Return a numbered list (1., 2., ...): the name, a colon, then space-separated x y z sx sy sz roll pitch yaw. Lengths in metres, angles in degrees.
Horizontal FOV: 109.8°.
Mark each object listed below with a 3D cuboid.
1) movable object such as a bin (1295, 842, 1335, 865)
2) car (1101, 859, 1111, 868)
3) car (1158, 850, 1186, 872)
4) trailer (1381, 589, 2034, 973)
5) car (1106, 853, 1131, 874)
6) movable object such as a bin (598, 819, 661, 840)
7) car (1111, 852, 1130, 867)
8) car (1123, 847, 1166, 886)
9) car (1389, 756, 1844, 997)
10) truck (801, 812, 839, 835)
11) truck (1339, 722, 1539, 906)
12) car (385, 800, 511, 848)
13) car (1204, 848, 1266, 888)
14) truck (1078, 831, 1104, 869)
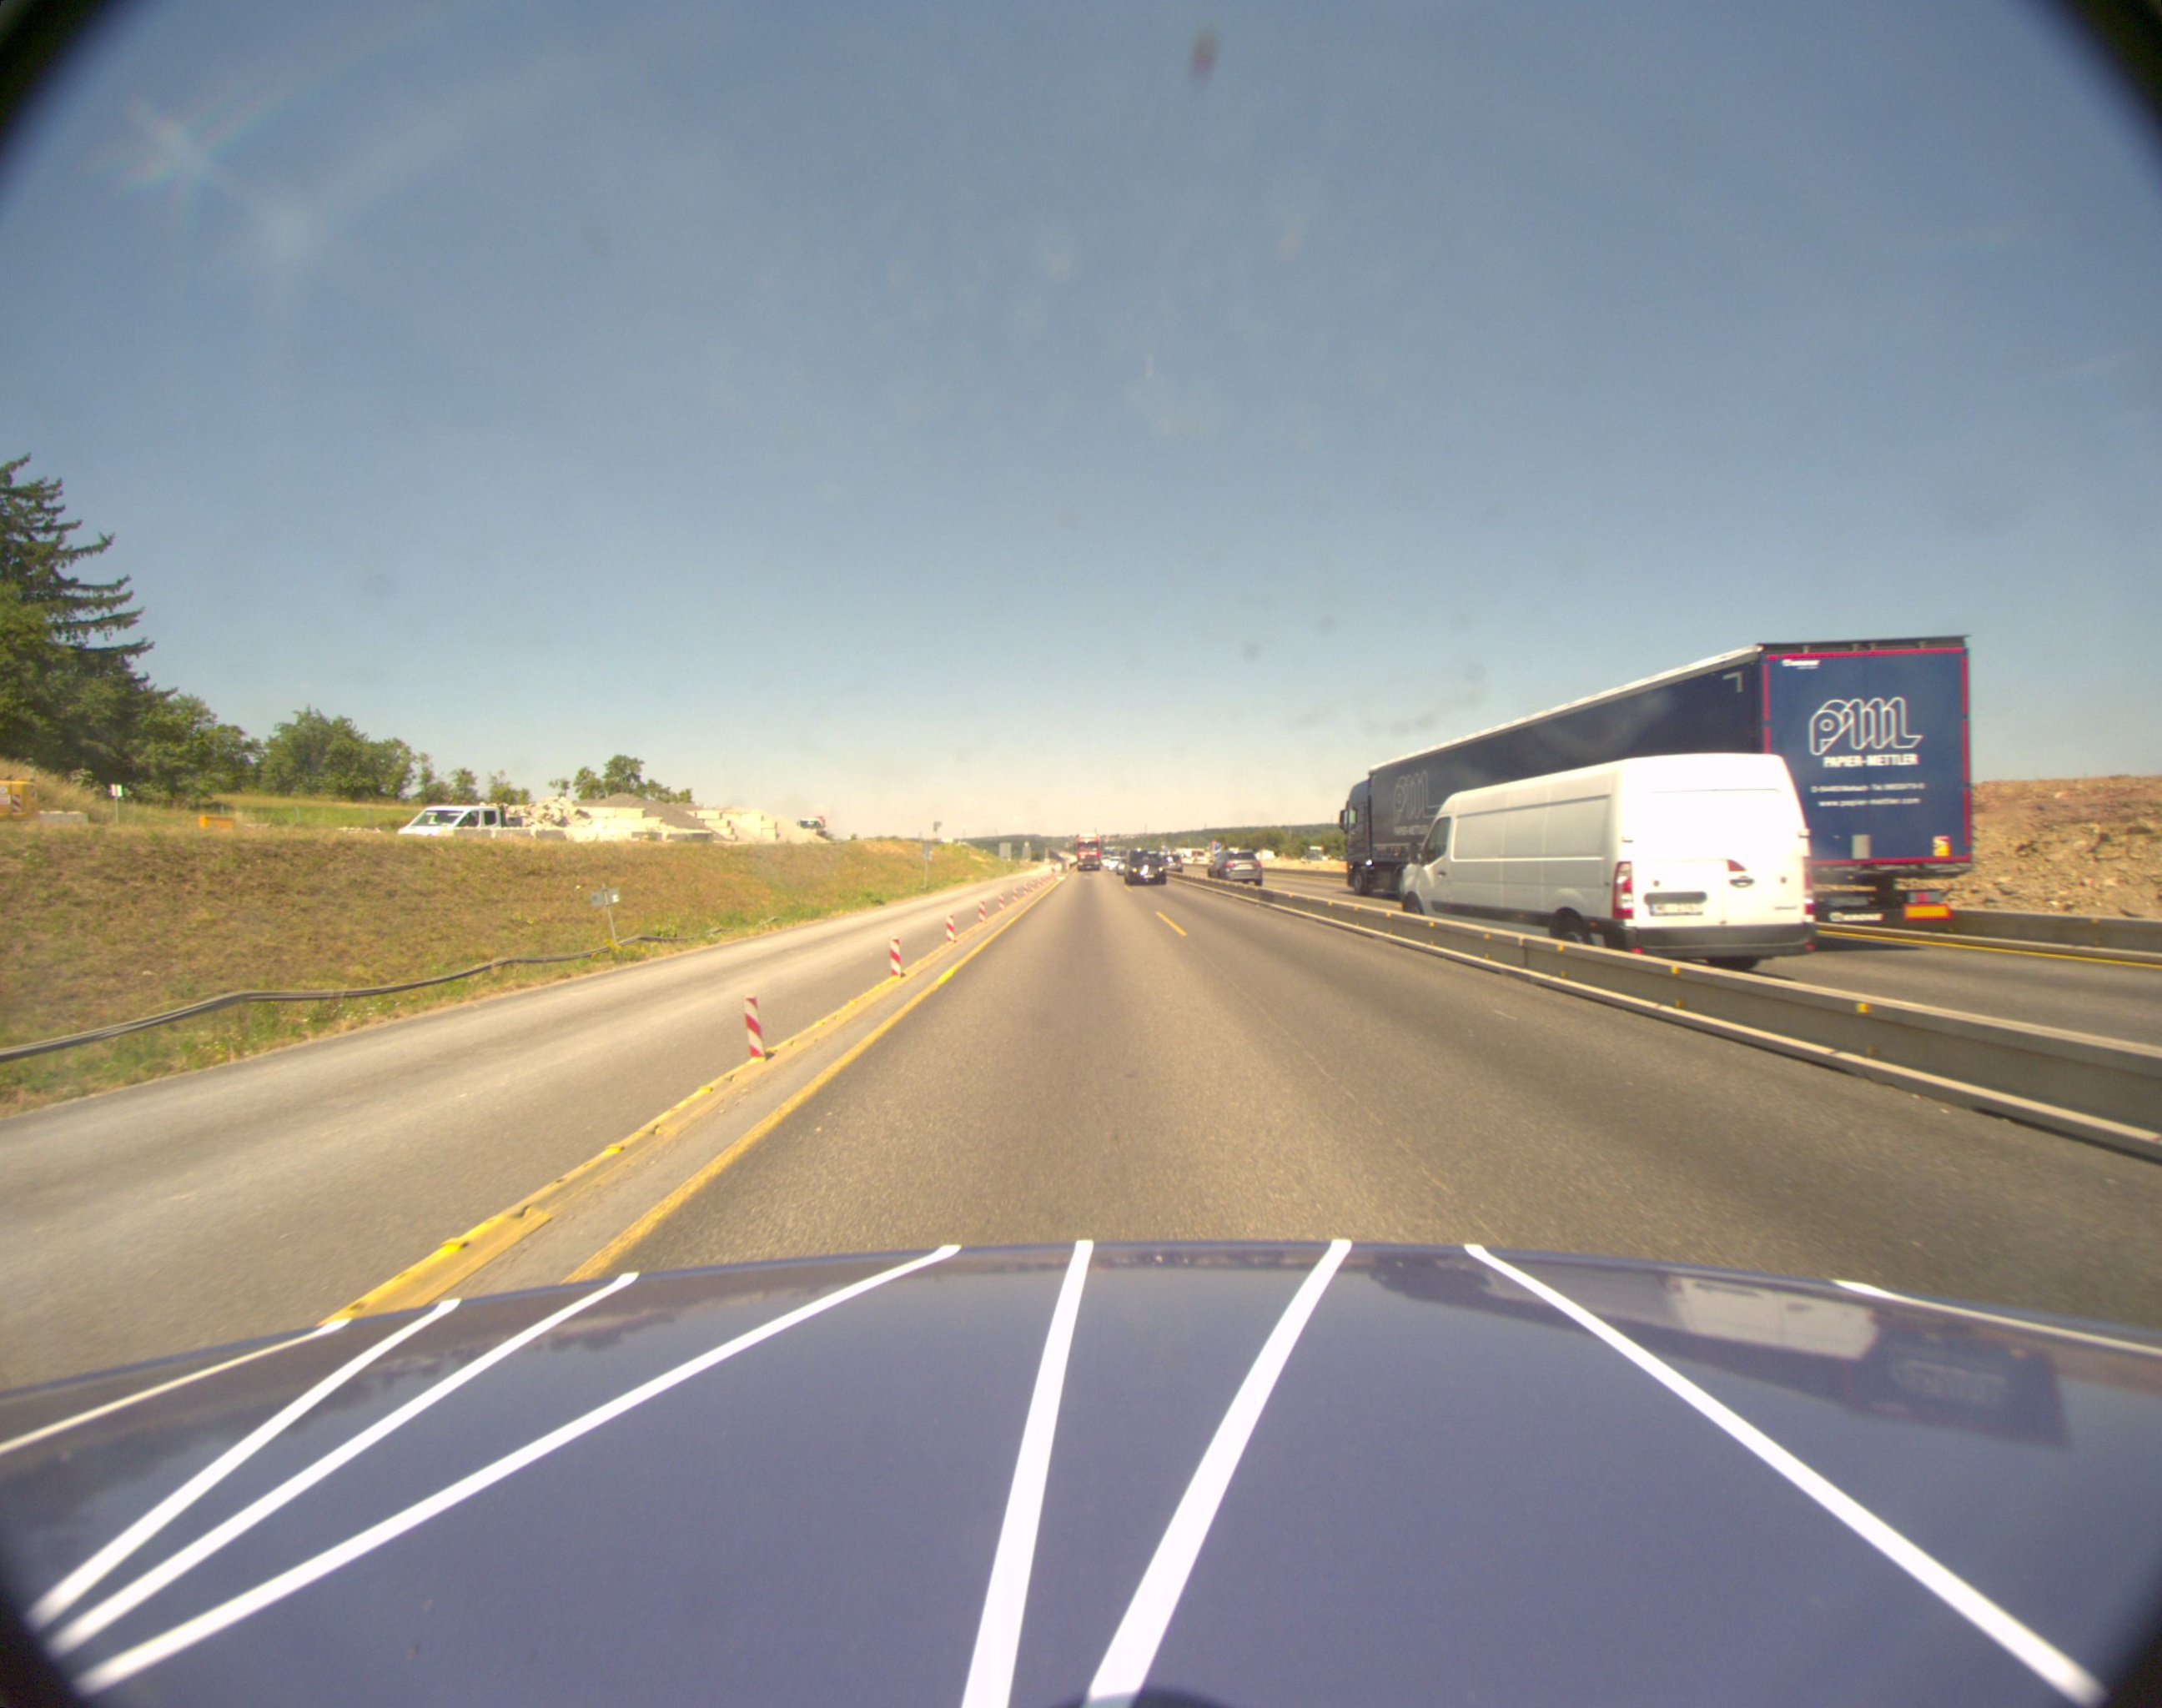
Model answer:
1. movable object such as a bin: 24.126 -0.079 78.563 2.321 2.121 6.143 -2 1 1
2. car: 4.059 1.515 124.392 1.601 1.390 3.695 -2 1 2
3. car: 7.227 0.552 60.551 1.770 1.556 4.226 -2 0 1
4. trailer: 10.221 -0.947 15.743 2.993 4.569 12.883 -2 1 1
5. car: 3.010 0.751 61.119 1.804 1.499 4.100 -2 0 1
6. movable object such as a bin: -15.957 -0.858 26.922 0.838 0.678 2.249 -2 1 1
7. car: 4.128 0.564 79.669 1.875 1.390 4.030 -2 1 2
8. car: 3.302 0.617 40.448 1.878 1.840 5.478 -2 1 1
9. car: 6.602 0.248 10.692 2.040 2.329 6.196 -2 0 1
10. truck: -35.762 -4.156 104.463 2.223 2.803 9.061 -2 1 -2
11. truck: 10.294 -1.060 22.715 2.972 4.625 6.243 -2 1 1
12. car: -25.513 -1.161 30.814 1.990 1.752 3.601 -2 1 0
13. car: 6.952 0.581 34.796 1.873 1.620 4.885 -2 1 1
14. truck: 1.188 -0.468 83.672 2.537 3.798 9.481 -2 1 2
